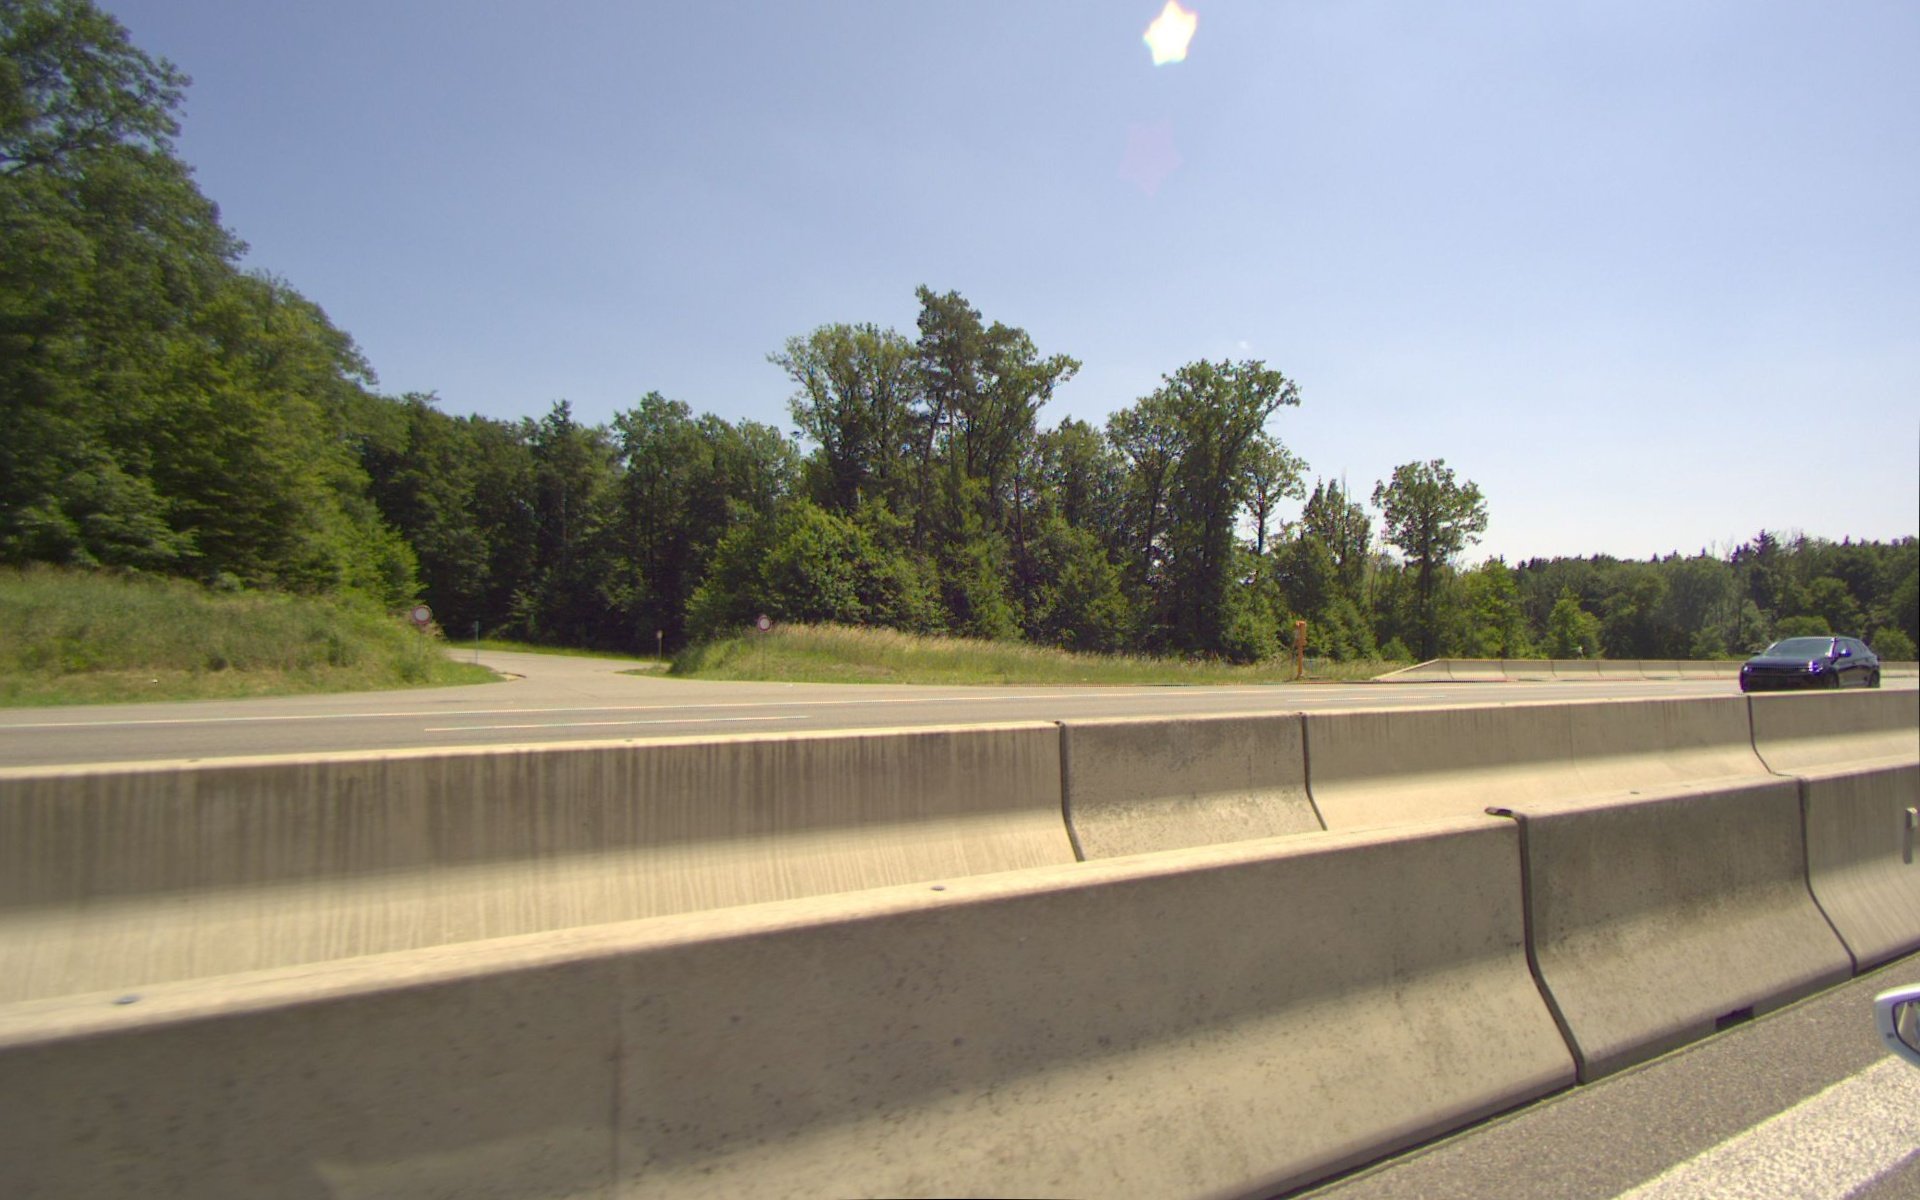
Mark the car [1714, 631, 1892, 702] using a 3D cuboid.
[{"bbox_3d":[22.314,1.732,26.538,5.220,1.696,1.984,2,-4,-31],"label":"car"}]
